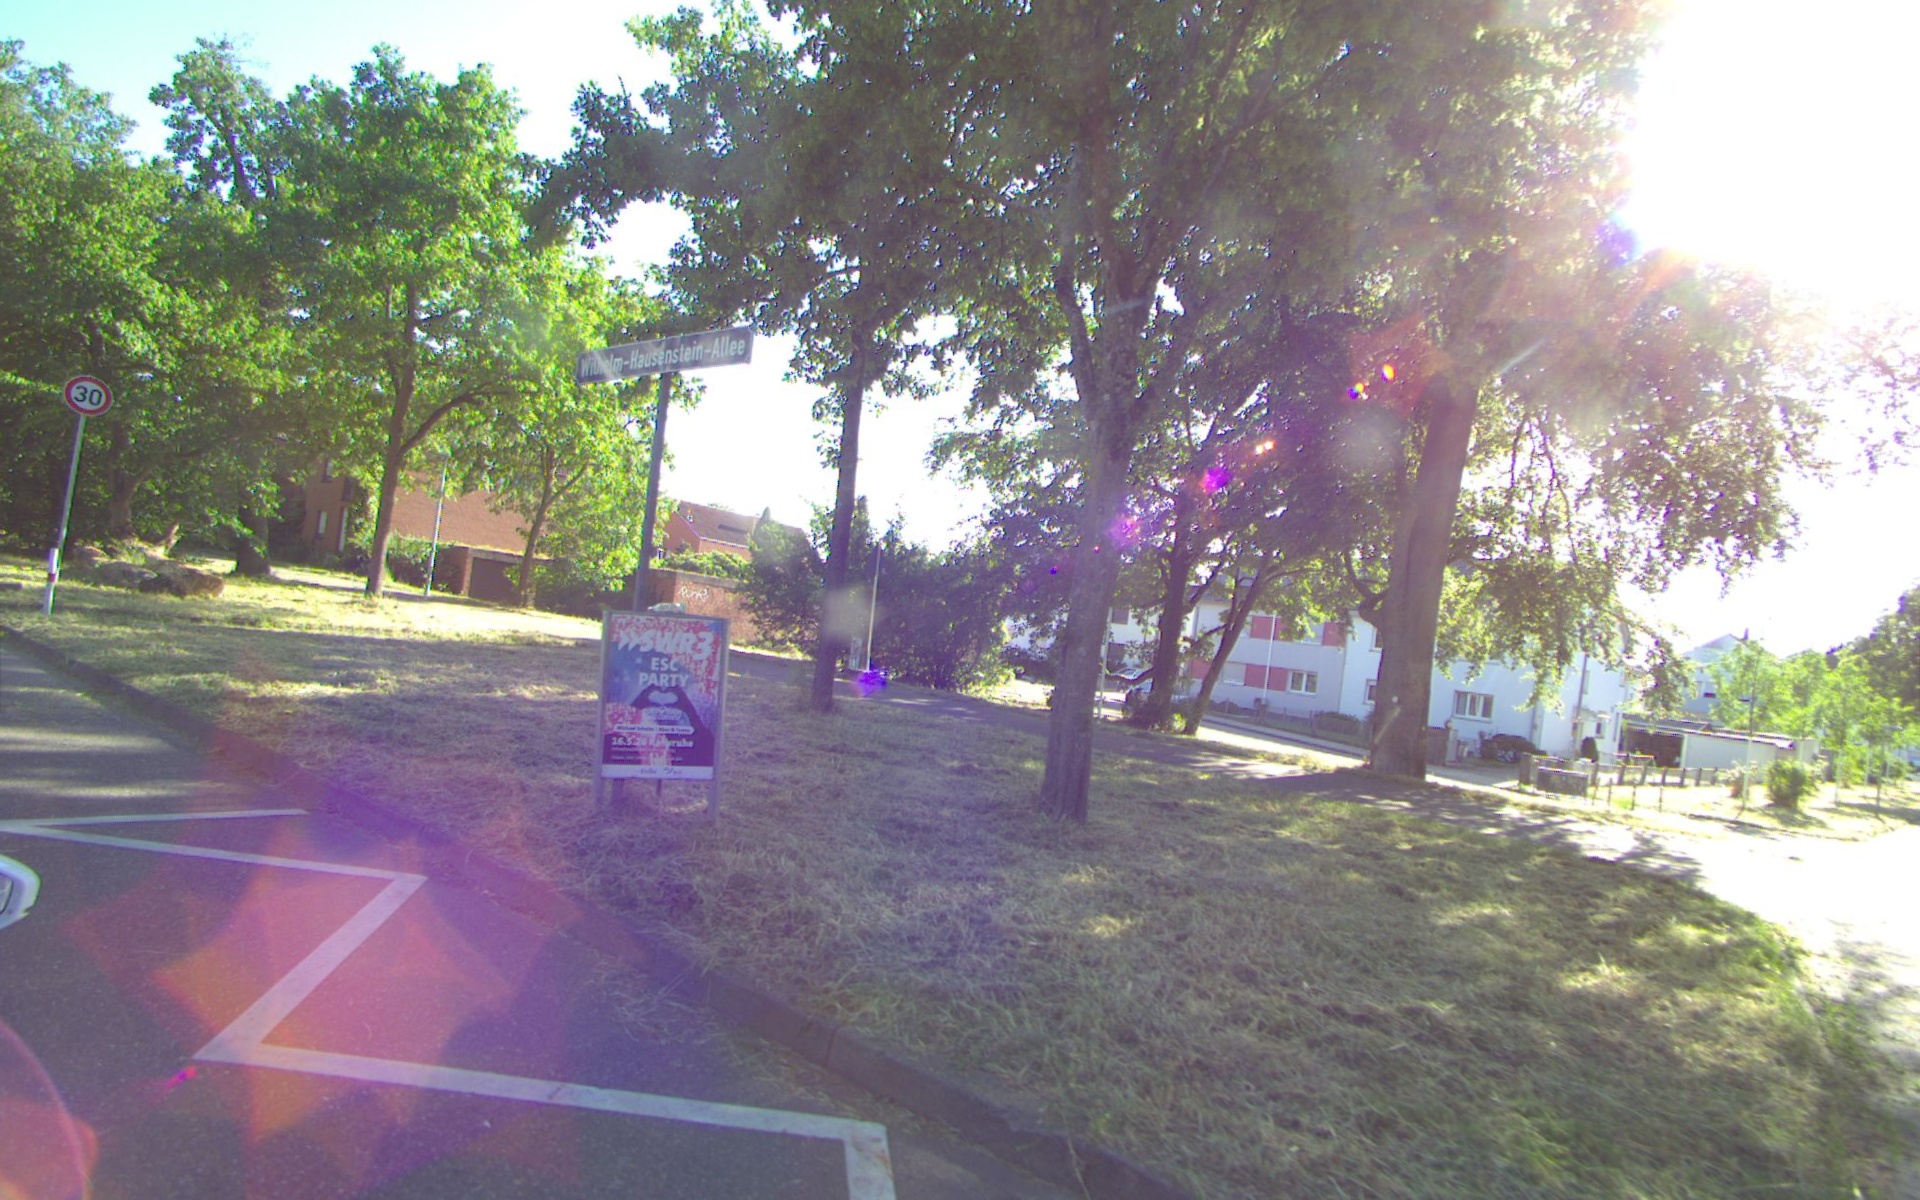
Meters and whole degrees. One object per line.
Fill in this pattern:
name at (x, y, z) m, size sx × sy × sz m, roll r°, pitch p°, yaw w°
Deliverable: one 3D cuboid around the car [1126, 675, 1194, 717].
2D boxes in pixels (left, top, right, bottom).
car at (9.774, 4.675, 49.358) m, size 1.512 × 1.569 × 3.164 m, roll 9°, pitch -2°, yaw -26°
